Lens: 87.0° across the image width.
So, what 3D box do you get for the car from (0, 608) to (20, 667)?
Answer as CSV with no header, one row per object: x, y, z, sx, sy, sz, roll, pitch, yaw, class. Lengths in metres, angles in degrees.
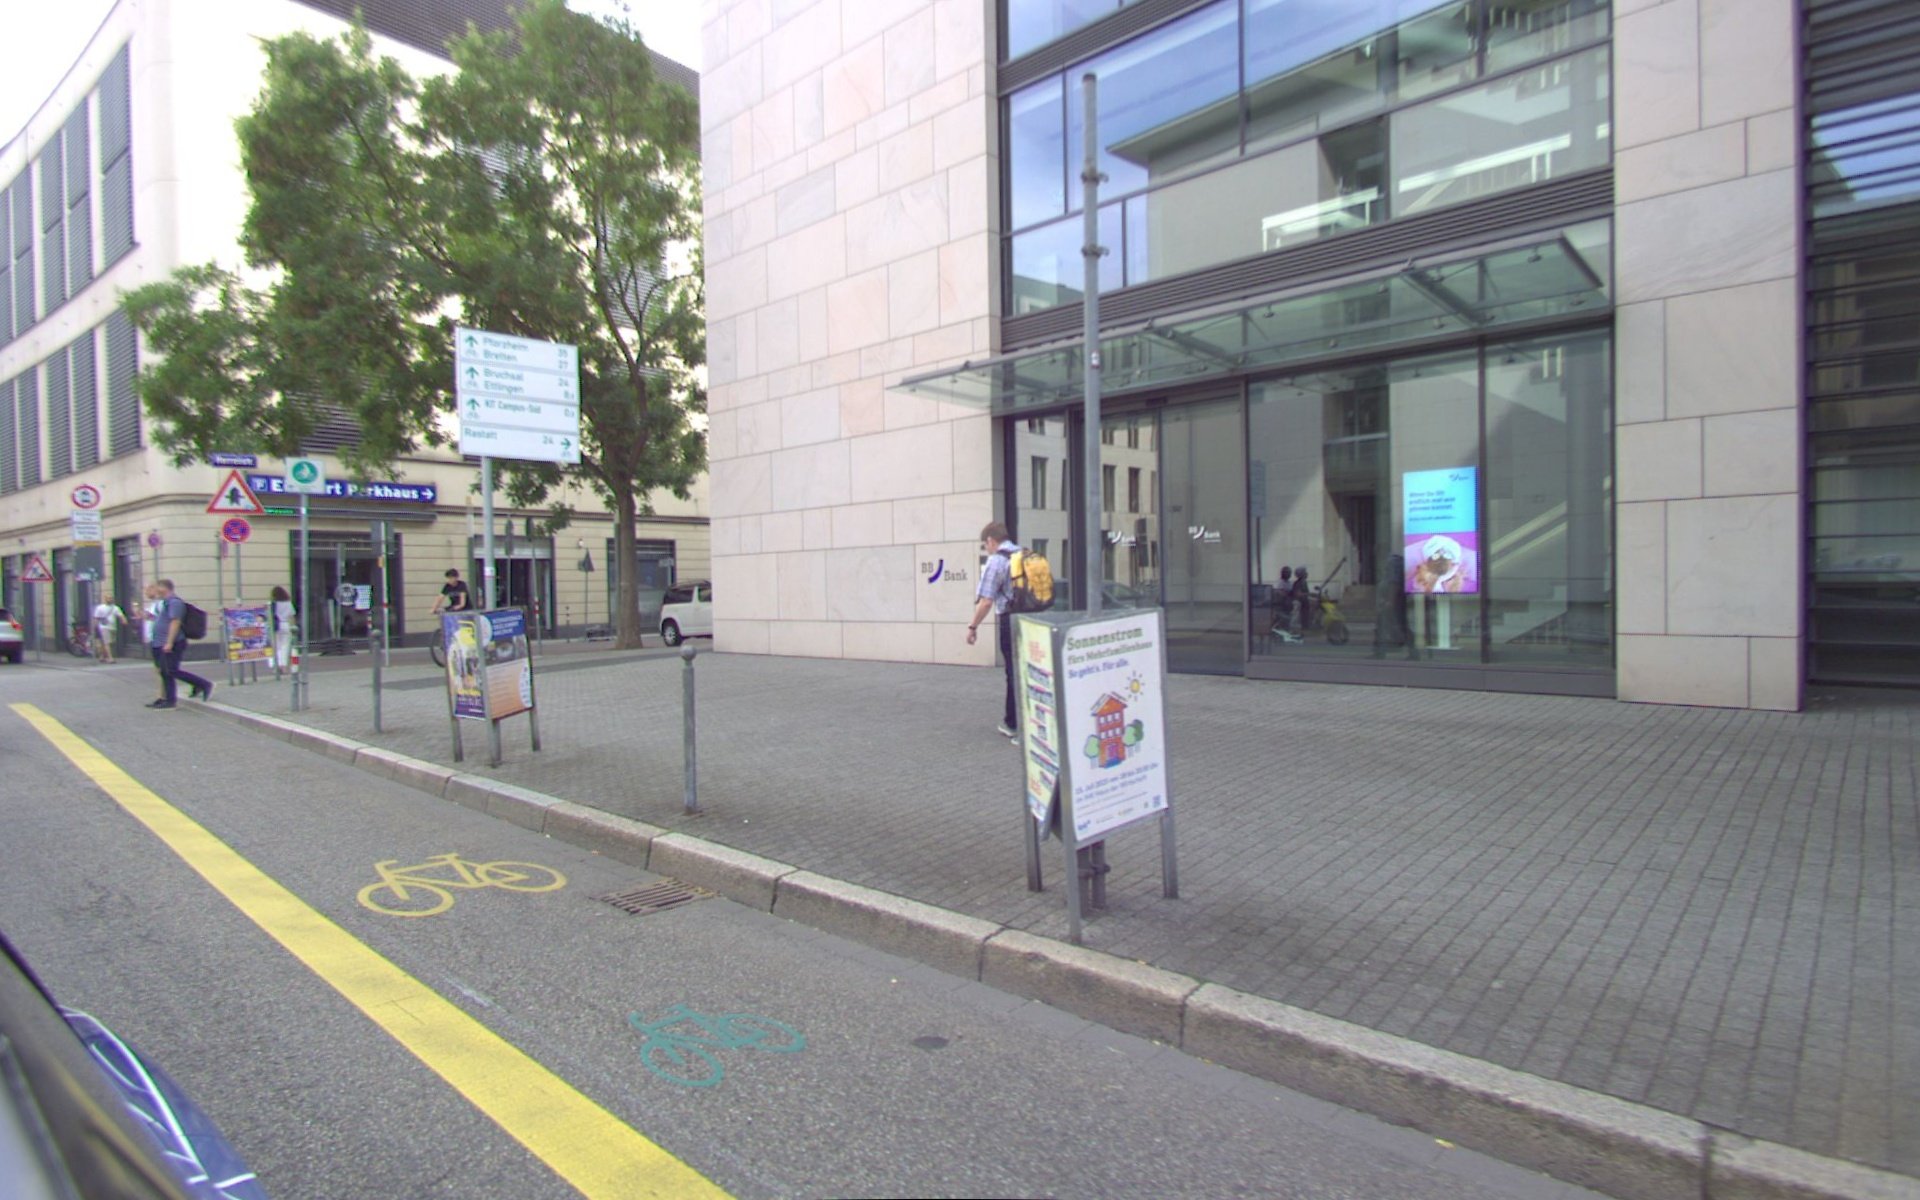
-27.781,1.042,28.166,4.094,1.568,1.545,0,1,35,car

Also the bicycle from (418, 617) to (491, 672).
-9.166,0.788,18.418,0.592,0.840,1.728,-5,1,-7,bicycle

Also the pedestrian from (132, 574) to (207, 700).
-11.491,0.524,14.710,0.652,1.778,0.637,-1,0,31,pedestrian

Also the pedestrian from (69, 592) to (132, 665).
-22.253,0.730,26.197,1.058,1.777,0.882,-1,4,35,pedestrian

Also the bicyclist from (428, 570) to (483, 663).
-9.216,0.282,18.507,0.613,1.631,0.645,-3,2,-7,bicyclist

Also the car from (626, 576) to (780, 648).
-6.783,0.327,26.545,3.959,1.706,1.875,-3,-1,39,car

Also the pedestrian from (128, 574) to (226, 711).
-10.983,0.575,14.204,0.754,1.827,0.738,-1,4,31,pedestrian

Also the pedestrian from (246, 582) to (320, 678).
-12.965,0.559,19.386,0.910,1.721,0.868,0,5,42,pedestrian

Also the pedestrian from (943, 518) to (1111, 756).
0.541,0.240,7.996,0.819,1.732,1.015,0,3,43,pedestrian
